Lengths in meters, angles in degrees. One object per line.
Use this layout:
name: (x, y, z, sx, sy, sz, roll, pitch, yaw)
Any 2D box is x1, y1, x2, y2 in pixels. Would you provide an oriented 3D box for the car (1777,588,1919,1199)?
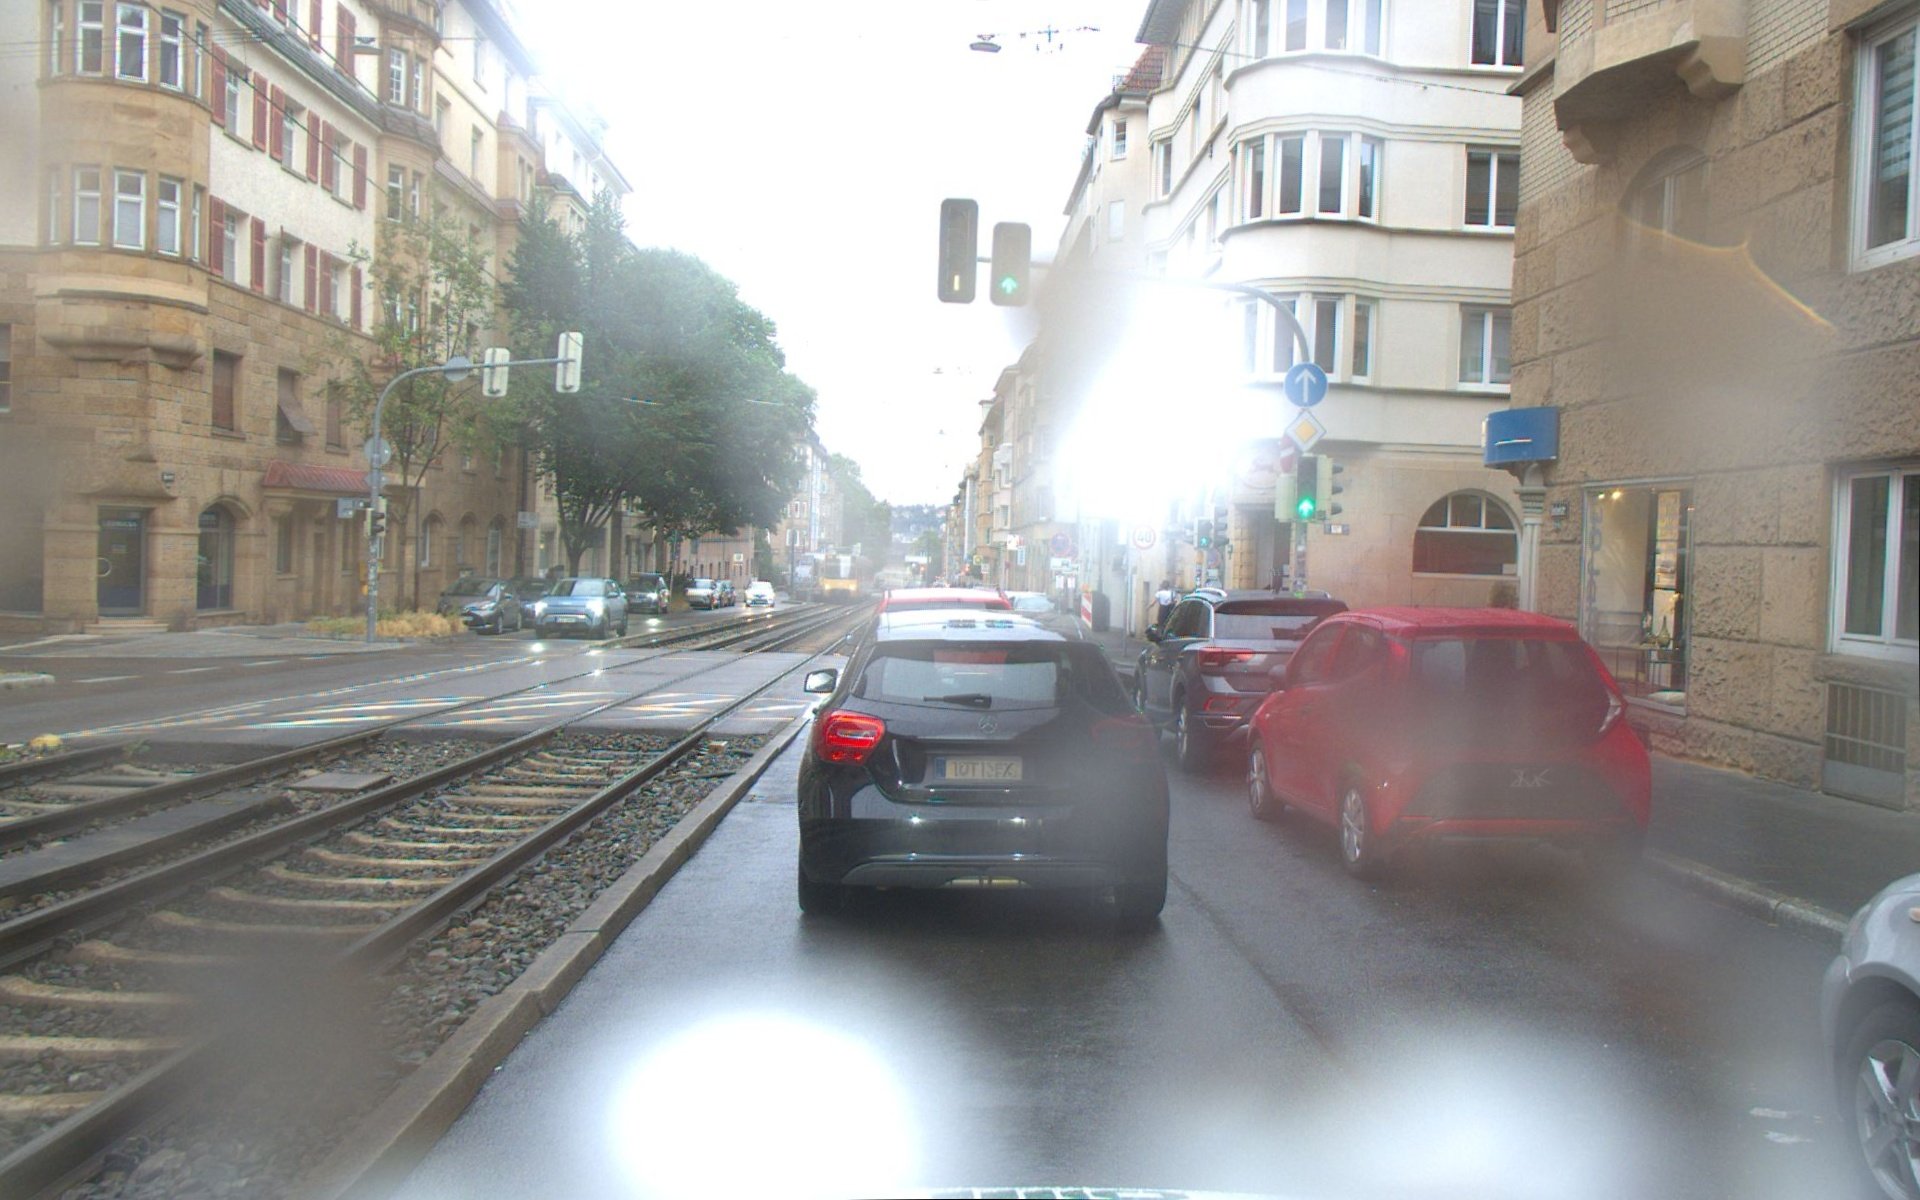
car: (3.083, 0.739, 2.866, 1.562, 1.513, 3.521, 0, 0, -1)

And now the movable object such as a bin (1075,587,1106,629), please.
movable object such as a bin: (4.692, 0.292, 59.559, 0.960, 1.494, 1.272, 1, 0, -2)

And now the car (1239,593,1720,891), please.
car: (2.978, 0.729, 10.267, 1.672, 1.478, 3.530, 2, 0, -3)

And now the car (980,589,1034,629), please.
car: (1.715, 0.328, 61.682, 1.753, 1.410, 4.394, 1, 0, -1)

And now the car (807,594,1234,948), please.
car: (0.232, 0.724, 9.014, 1.797, 1.478, 3.901, 1, 0, -1)

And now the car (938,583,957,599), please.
car: (-1.285, -0.960, 171.699, 1.848, 1.552, 4.246, 2, 0, 1)

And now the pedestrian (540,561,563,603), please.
pedestrian: (-16.699, -0.732, 67.689, 0.713, 1.692, 0.770, 2, 0, -2)

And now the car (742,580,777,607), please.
car: (-11.991, -0.381, 98.859, 1.745, 1.529, 4.060, 1, 0, -3)

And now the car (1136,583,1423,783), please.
car: (2.829, 0.672, 15.537, 1.830, 1.576, 3.990, 2, 0, -1)

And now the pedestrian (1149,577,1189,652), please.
pedestrian: (4.803, 0.331, 38.085, 0.788, 1.717, 0.754, 1, -1, -2)

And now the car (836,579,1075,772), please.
car: (-0.067, 0.631, 16.000, 1.953, 1.552, 4.245, 2, 0, -1)

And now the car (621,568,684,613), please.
car: (-13.260, -0.438, 71.594, 1.914, 1.772, 4.777, 4, 1, -3)

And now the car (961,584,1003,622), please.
car: (1.019, 0.133, 74.218, 1.803, 1.636, 4.761, 1, 0, 1)

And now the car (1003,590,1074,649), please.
car: (2.001, 0.482, 43.364, 1.675, 1.435, 4.817, 1, 0, 1)

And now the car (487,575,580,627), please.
car: (-13.012, 0.030, 50.767, 1.745, 1.485, 4.976, 1, 0, -3)

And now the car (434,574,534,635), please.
car: (-12.949, 0.126, 45.212, 1.656, 1.556, 4.173, 1, 0, -3)

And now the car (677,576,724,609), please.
car: (-13.920, -0.411, 88.831, 1.922, 1.633, 4.327, 2, 1, -2)

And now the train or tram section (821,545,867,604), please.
train or tram section: (-8.692, -1.896, 125.724, 2.690, 4.132, 17.208, 1, 1, -2)

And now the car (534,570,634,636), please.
car: (-9.988, 0.085, 44.212, 1.883, 1.646, 4.126, 1, 0, -3)

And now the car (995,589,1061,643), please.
car: (1.949, 0.461, 48.731, 1.677, 1.493, 4.773, 1, 0, -1)
